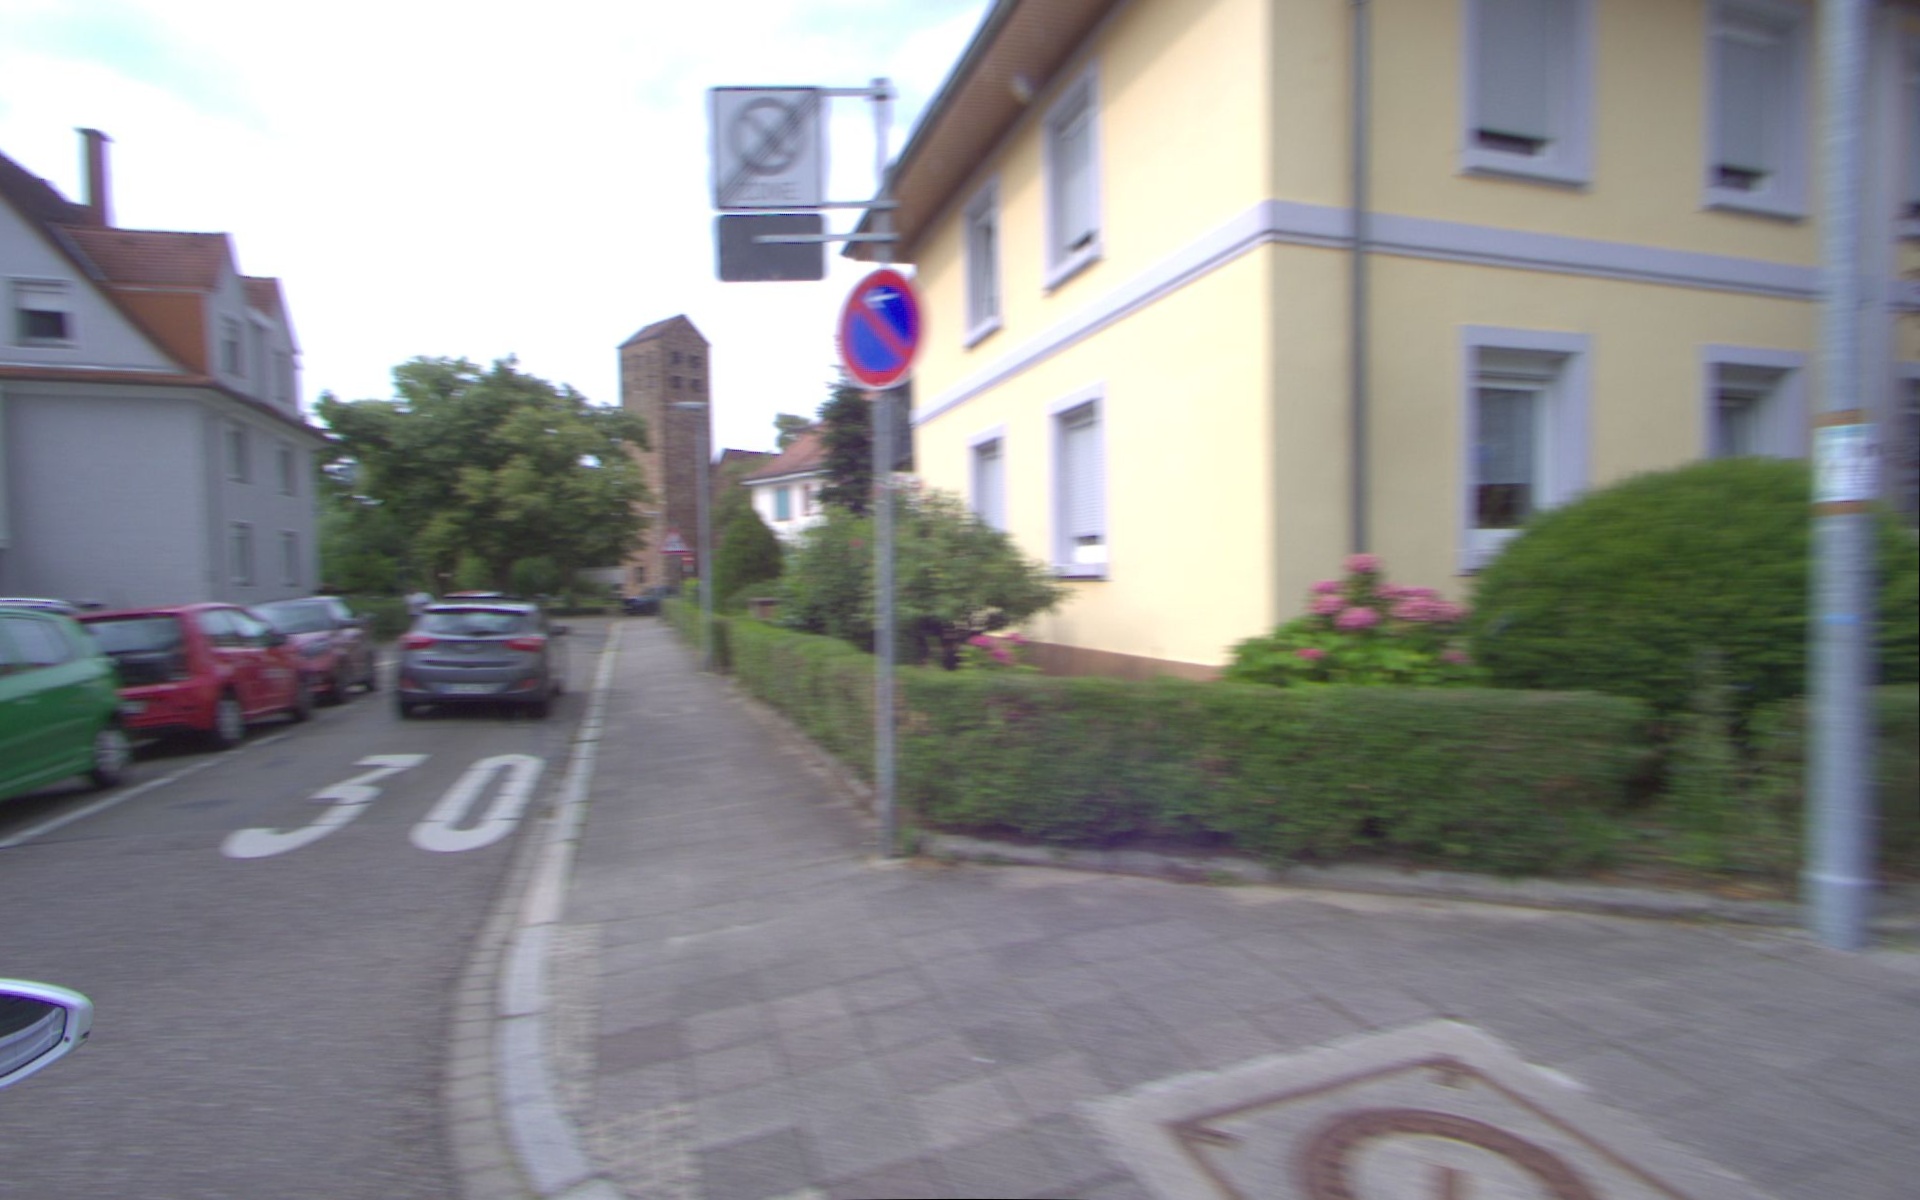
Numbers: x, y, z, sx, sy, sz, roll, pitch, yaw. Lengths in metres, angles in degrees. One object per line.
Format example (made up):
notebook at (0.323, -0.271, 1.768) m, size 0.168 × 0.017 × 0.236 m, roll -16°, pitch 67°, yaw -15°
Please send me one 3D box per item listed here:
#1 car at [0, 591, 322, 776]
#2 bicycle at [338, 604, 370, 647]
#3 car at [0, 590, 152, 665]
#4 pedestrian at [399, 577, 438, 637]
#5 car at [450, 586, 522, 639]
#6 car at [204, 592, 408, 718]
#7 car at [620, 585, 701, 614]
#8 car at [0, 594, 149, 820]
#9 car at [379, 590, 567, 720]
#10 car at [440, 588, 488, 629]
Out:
car at (-8.369, 0.729, 10.796) m, size 1.622 × 1.516 × 3.472 m, roll -5°, pitch 2°, yaw -19°
bicycle at (-16.948, 0.686, 28.026) m, size 0.416 × 1.118 × 2.108 m, roll -2°, pitch 1°, yaw -22°
car at (-19.878, 0.561, 21.101) m, size 3.930 × 1.484 × 1.995 m, roll -1°, pitch 1°, yaw -18°
pedestrian at (-17.493, 0.215, 32.355) m, size 0.868 × 1.904 × 1.076 m, roll -2°, pitch 2°, yaw -18°
car at (-15.355, 0.360, 32.591) m, size 1.622 × 1.516 × 3.472 m, roll -5°, pitch 2°, yaw -19°
car at (-9.537, 0.701, 14.910) m, size 1.622 × 1.516 × 3.472 m, roll -5°, pitch 2°, yaw -19°
car at (-16.326, -0.044, 54.621) m, size 4.154 × 1.484 × 1.679 m, roll -1°, pitch 3°, yaw -19°
car at (-7.075, 0.745, 6.491) m, size 1.622 × 1.441 × 3.472 m, roll -5°, pitch 2°, yaw -19°
car at (-6.500, 0.634, 13.786) m, size 1.823 × 1.500 × 4.031 m, roll 1°, pitch 1°, yaw -19°
car at (-20.712, 0.328, 41.764) m, size 1.625 × 1.516 × 3.465 m, roll -5°, pitch 2°, yaw -27°
